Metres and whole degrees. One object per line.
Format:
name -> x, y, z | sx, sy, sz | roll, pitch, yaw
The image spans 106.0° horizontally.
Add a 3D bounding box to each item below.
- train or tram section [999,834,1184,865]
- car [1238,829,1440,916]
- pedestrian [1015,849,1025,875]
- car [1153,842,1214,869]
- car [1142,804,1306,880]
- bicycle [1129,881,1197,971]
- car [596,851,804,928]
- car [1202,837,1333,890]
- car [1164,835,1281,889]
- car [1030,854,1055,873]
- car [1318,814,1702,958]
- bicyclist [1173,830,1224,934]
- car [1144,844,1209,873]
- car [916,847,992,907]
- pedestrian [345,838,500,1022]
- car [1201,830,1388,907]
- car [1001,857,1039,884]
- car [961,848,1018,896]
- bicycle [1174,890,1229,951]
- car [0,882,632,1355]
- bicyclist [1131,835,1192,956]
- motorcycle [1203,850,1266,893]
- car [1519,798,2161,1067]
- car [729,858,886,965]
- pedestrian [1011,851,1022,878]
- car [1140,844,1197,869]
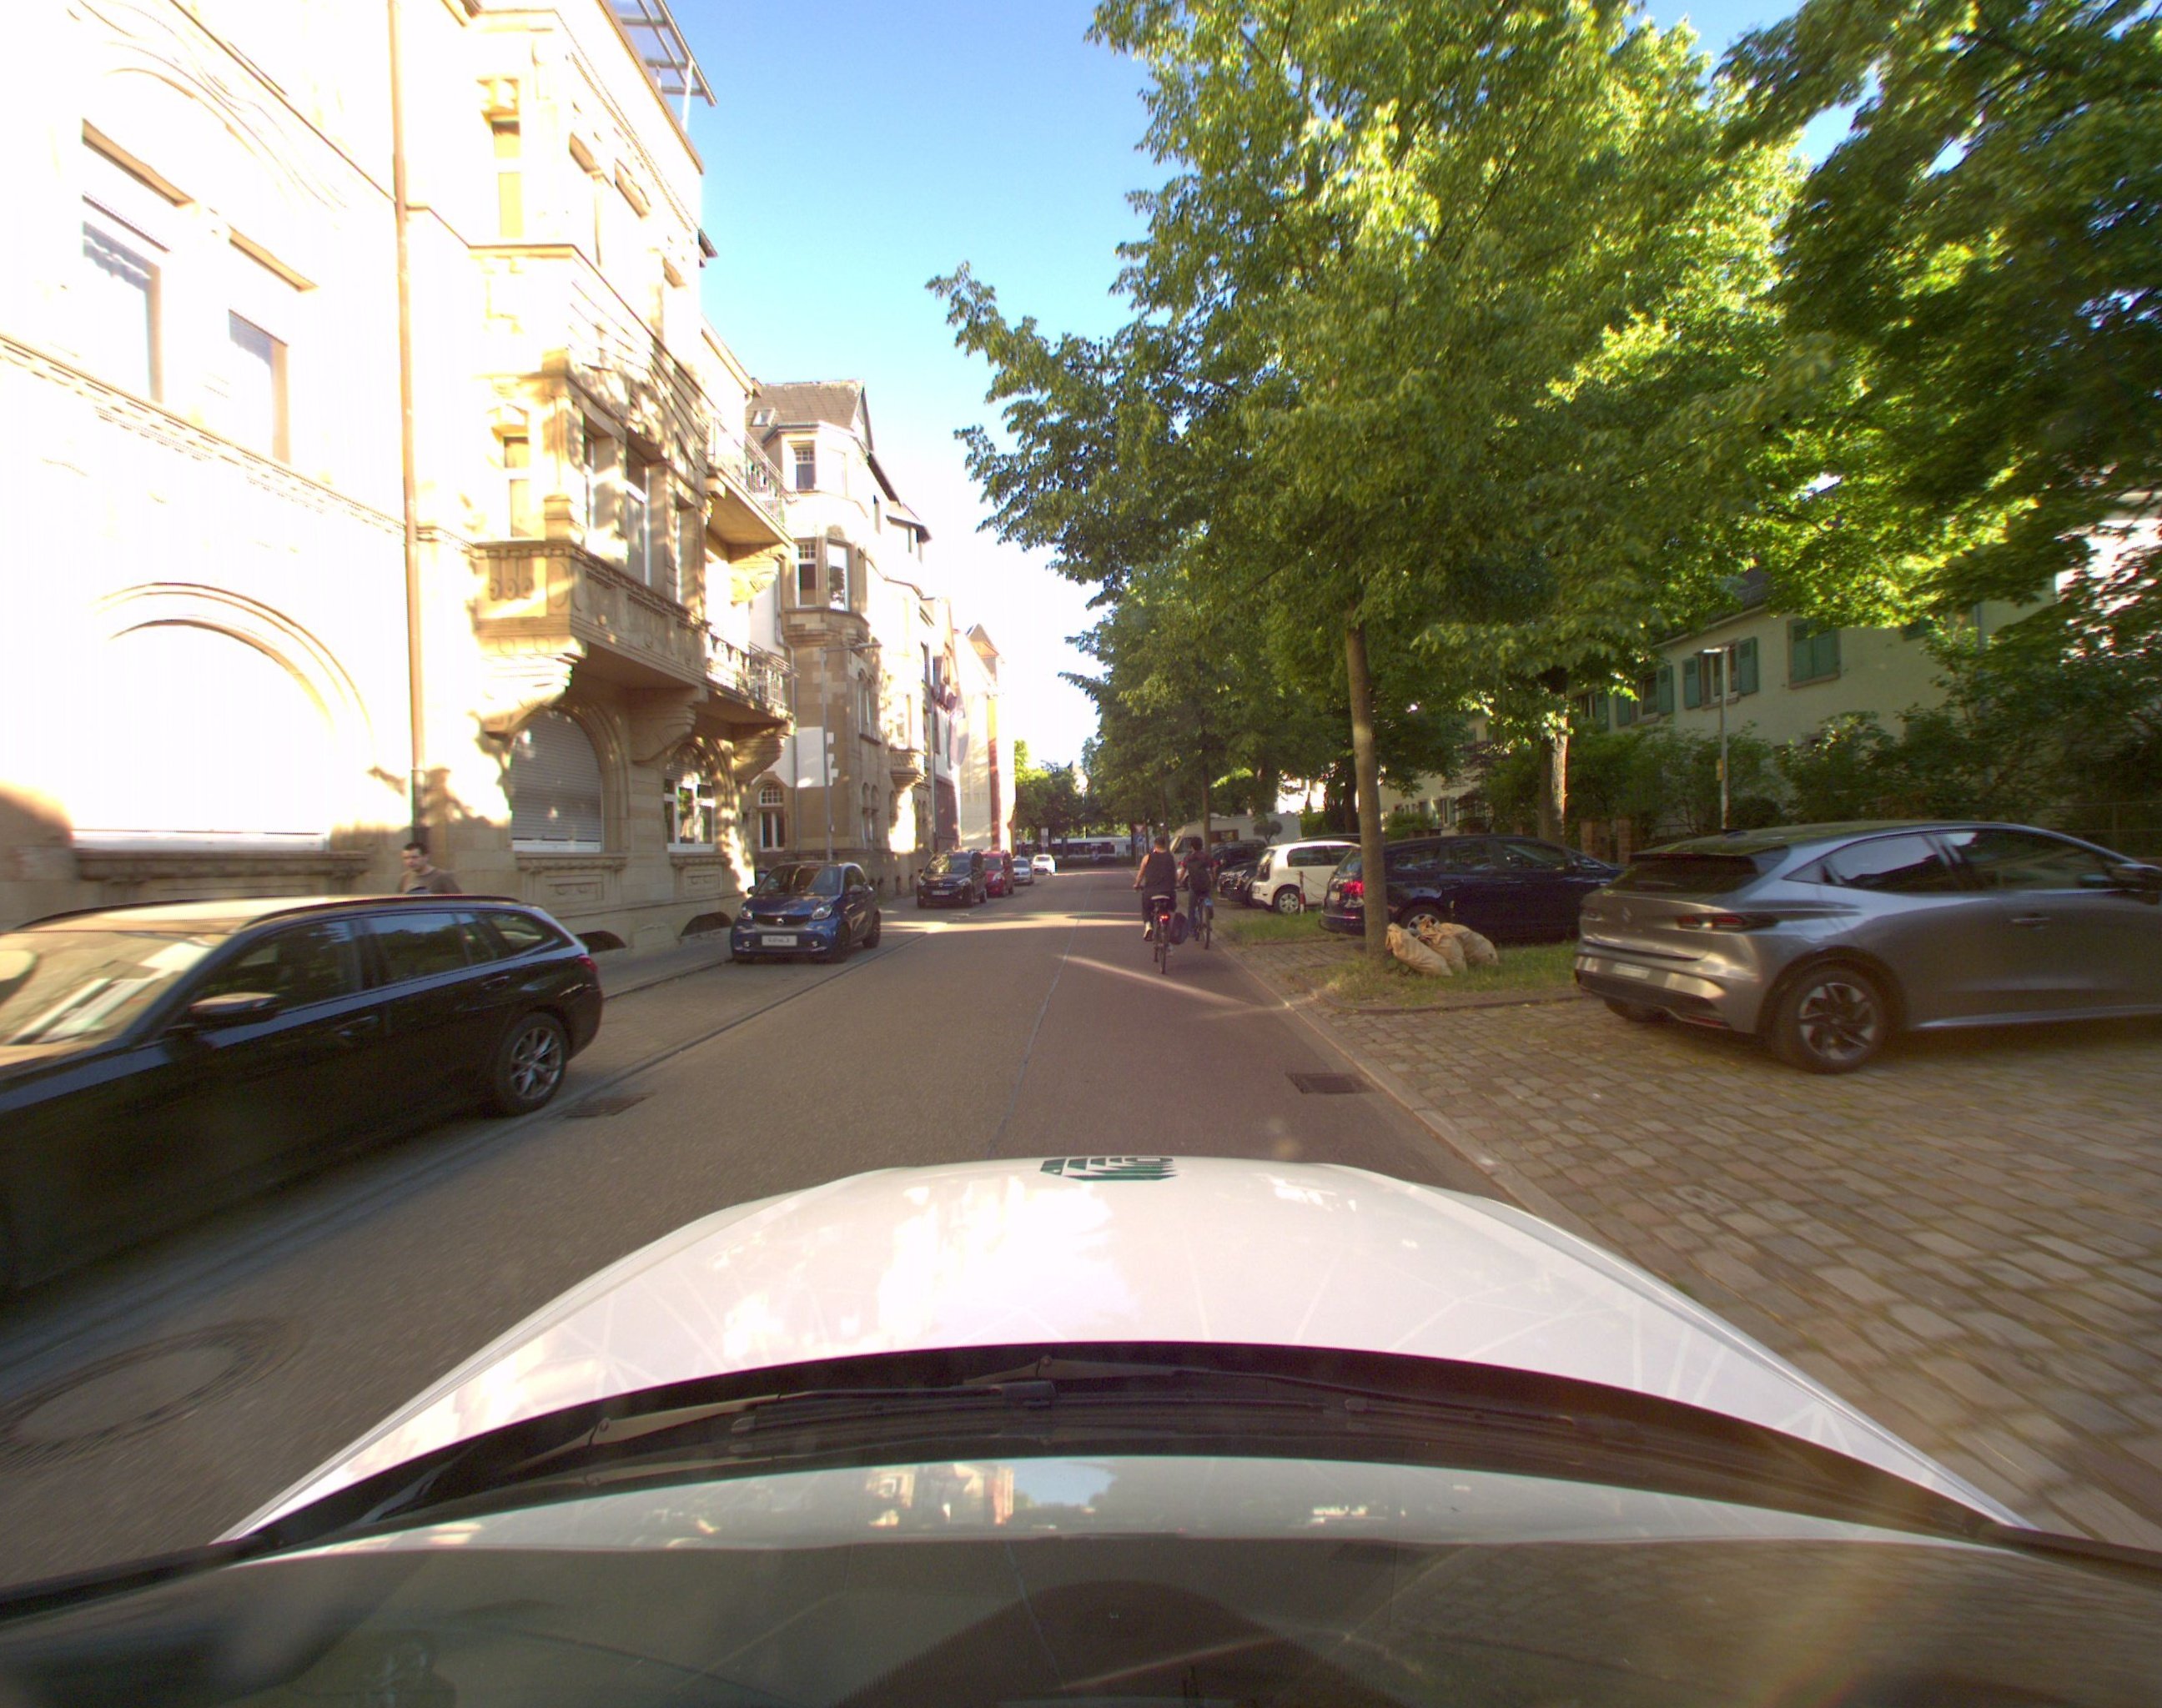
train or tram section -> 1.579, -0.613, 104.199 | 23.892, 3.708, 4.256 | -1, -1, -21
car -> 5.400, 0.371, 17.407 | 3.757, 1.599, 1.692 | -3, 0, 3
pedestrian -> -4.164, 0.549, 55.221 | 0.607, 1.762, 0.432 | -1, -1, 2
car -> 7.060, 0.128, 56.428 | 3.975, 1.803, 1.833 | -1, -1, -1
car -> 6.610, -0.527, 38.317 | 7.127, 2.978, 2.463 | -4, 0, -2
bicycle -> 1.058, 0.911, 10.927 | 0.735, 1.054, 1.956 | 0, -1, 1
car -> -9.145, 0.831, 19.784 | 4.185, 1.668, 1.718 | -2, 0, 0
car -> 6.420, 0.339, 28.321 | 4.127, 1.600, 1.701 | -3, -2, -1
car -> 5.323, 0.295, 31.013 | 4.070, 1.650, 1.640 | -5, 0, -1
car -> -2.894, 0.682, 61.862 | 1.577, 1.375, 4.134 | 0, 1, 2
car -> 5.548, 0.424, 10.971 | 4.205, 1.600, 1.692 | -3, -2, 3
bicyclist -> 1.906, 0.446, 13.329 | 0.686, 1.626, 0.999 | -1, 0, 2
car -> 6.168, 0.305, 52.688 | 3.975, 1.803, 1.833 | -1, -1, -1
car -> -4.027, 0.674, 26.470 | 1.634, 1.783, 4.357 | 0, 1, 2
pedestrian -> -6.527, 0.726, 8.112 | 0.934, 1.742, 0.735 | -1, -1, 2
car -> 5.112, 0.364, 19.949 | 4.121, 1.600, 1.704 | -3, -2, 3
car -> -3.273, 0.862, 44.009 | 1.577, 1.343, 4.134 | 0, 1, 2
car -> -3.687, 0.660, 33.318 | 1.682, 1.825, 4.275 | 0, 1, 2
bicycle -> 1.903, 1.034, 13.114 | 0.631, 0.799, 1.833 | -3, 0, 2
car -> -4.427, 0.958, 4.081 | 1.669, 1.430, 4.553 | 0, 1, 2
bicyclist -> 1.057, 0.532, 10.878 | 0.727, 1.547, 0.884 | 0, -1, 0
motorcycle -> 4.369, 0.498, 23.224 | 1.587, 1.141, 0.677 | -3, 0, 35
car -> 5.515, 0.430, 5.669 | 4.022, 1.454, 1.689 | -2, 0, -3
car -> -4.350, 0.854, 13.347 | 1.590, 1.489, 2.736 | 1, 1, 0
pedestrian -> -4.121, 0.673, 51.811 | 0.607, 1.679, 0.518 | -1, -1, 2
car -> 6.474, 0.173, 60.574 | 3.975, 1.803, 1.833 | -1, -1, -1
